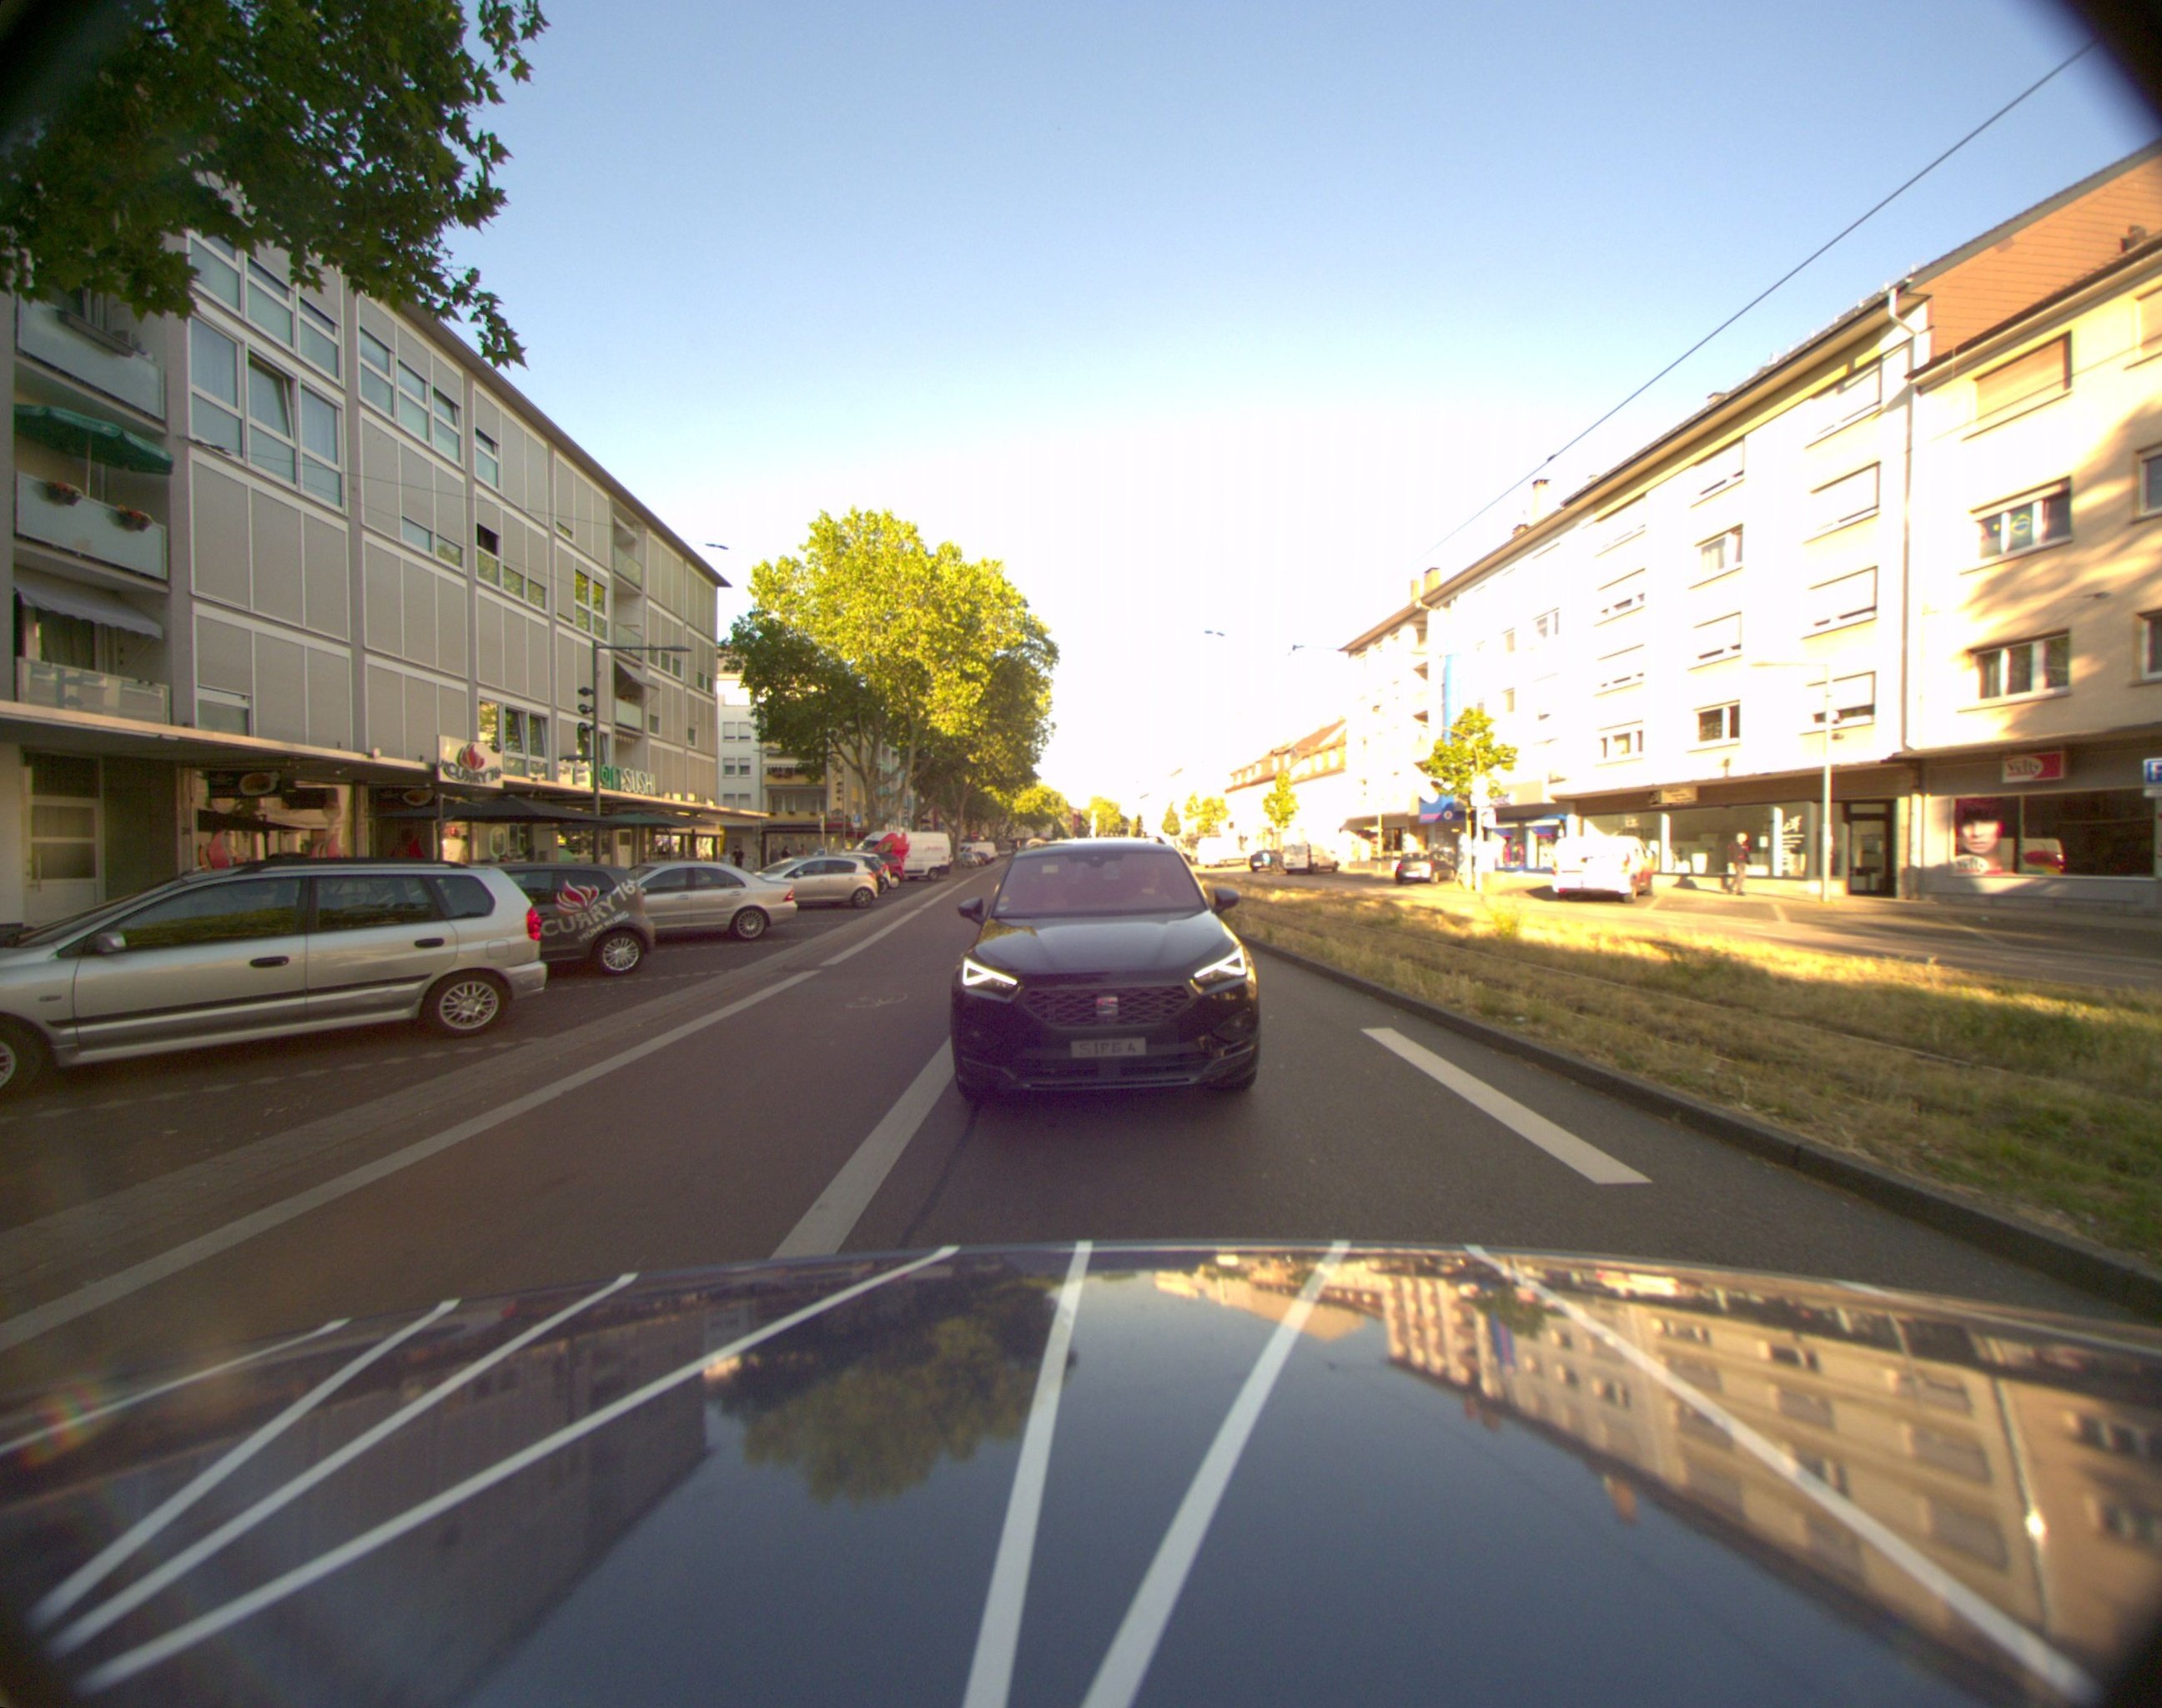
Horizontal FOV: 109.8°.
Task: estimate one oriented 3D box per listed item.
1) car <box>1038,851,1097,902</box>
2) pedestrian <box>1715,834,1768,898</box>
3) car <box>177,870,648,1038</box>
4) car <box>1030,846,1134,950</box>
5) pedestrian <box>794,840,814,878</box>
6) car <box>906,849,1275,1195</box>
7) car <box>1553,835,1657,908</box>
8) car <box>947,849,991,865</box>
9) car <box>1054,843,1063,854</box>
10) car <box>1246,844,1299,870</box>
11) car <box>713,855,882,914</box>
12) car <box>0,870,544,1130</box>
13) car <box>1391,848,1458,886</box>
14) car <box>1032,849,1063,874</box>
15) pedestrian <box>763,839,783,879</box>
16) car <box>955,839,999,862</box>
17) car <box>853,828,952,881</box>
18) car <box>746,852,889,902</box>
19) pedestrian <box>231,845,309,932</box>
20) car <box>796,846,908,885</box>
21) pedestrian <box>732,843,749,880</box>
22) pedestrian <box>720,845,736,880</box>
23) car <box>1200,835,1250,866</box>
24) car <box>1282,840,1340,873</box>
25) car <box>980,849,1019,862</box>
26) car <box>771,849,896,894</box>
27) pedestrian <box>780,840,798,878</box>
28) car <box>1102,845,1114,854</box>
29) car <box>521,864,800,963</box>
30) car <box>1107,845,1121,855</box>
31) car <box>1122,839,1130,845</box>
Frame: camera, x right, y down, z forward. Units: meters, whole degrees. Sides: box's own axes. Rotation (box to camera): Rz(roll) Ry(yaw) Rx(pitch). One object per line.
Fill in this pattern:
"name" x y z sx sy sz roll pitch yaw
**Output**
"car" -0.430 0.675 25.110 1.729 1.467 3.999 -2 1 -1
"pedestrian" 19.360 0.336 22.286 0.757 1.817 0.917 -1 1 1
"car" -7.602 0.959 9.009 1.672 1.420 3.950 2 1 38
"car" -0.007 0.703 14.480 1.646 1.646 3.999 -2 1 -1
"pedestrian" -14.508 0.261 39.813 0.748 2.002 0.764 0 1 -4
"car" 0.077 0.836 5.803 1.785 1.639 3.999 -2 1 1
"car" 15.619 0.445 22.572 1.853 1.888 4.007 -1 2 44
"car" -10.729 0.276 72.904 1.778 1.396 3.943 1 1 44
"car" -6.593 -1.537 223.096 2.660 2.989 7.131 -2 1 -2
"car" 13.819 0.185 54.680 3.922 1.704 1.853 -2 1 -45
"car" -7.558 0.779 20.491 3.950 1.420 1.555 1 1 -45
"car" -6.890 0.956 6.017 1.672 1.533 3.993 2 1 38
"car" 15.402 0.539 33.976 1.731 1.489 4.008 -1 1 40
"car" -2.038 0.429 47.620 1.729 1.443 4.227 -2 1 -1
"pedestrian" -15.428 0.245 38.096 0.748 2.002 0.559 0 1 -4
"car" -11.632 -0.418 85.045 1.973 2.454 4.605 1 1 44
"car" -8.799 0.025 37.783 4.606 2.479 1.672 0 0 -44
"car" -8.315 0.722 24.071 3.949 1.420 1.672 1 1 -34
"pedestrian" -15.101 0.629 14.162 0.583 1.573 0.771 0 1 2
"car" -9.177 0.482 30.546 3.948 1.421 1.672 1 2 -33
"pedestrian" -15.862 0.359 35.400 0.545 1.710 0.457 0 1 -4
"pedestrian" -16.406 0.394 35.340 0.537 1.630 0.478 0 1 -4
"car" 13.068 -0.371 68.650 1.922 2.599 6.601 -1 1 34
"car" 14.533 0.106 47.810 1.853 1.927 4.513 -1 1 40
"car" -8.852 0.162 82.438 1.778 1.326 3.943 1 1 44
"car" -8.853 0.637 27.241 3.948 1.421 1.672 2 2 -32
"pedestrian" -15.340 0.266 39.896 0.748 1.964 0.575 0 1 -4
"car" 5.746 -0.950 162.572 1.999 1.783 3.998 0 1 -4
"car" -7.195 0.914 13.307 1.592 1.393 3.950 2 1 41
"car" 5.230 -0.650 119.937 1.846 1.571 4.449 0 1 -2
"car" 14.172 -3.931 240.919 2.497 1.871 5.275 0 1 4
